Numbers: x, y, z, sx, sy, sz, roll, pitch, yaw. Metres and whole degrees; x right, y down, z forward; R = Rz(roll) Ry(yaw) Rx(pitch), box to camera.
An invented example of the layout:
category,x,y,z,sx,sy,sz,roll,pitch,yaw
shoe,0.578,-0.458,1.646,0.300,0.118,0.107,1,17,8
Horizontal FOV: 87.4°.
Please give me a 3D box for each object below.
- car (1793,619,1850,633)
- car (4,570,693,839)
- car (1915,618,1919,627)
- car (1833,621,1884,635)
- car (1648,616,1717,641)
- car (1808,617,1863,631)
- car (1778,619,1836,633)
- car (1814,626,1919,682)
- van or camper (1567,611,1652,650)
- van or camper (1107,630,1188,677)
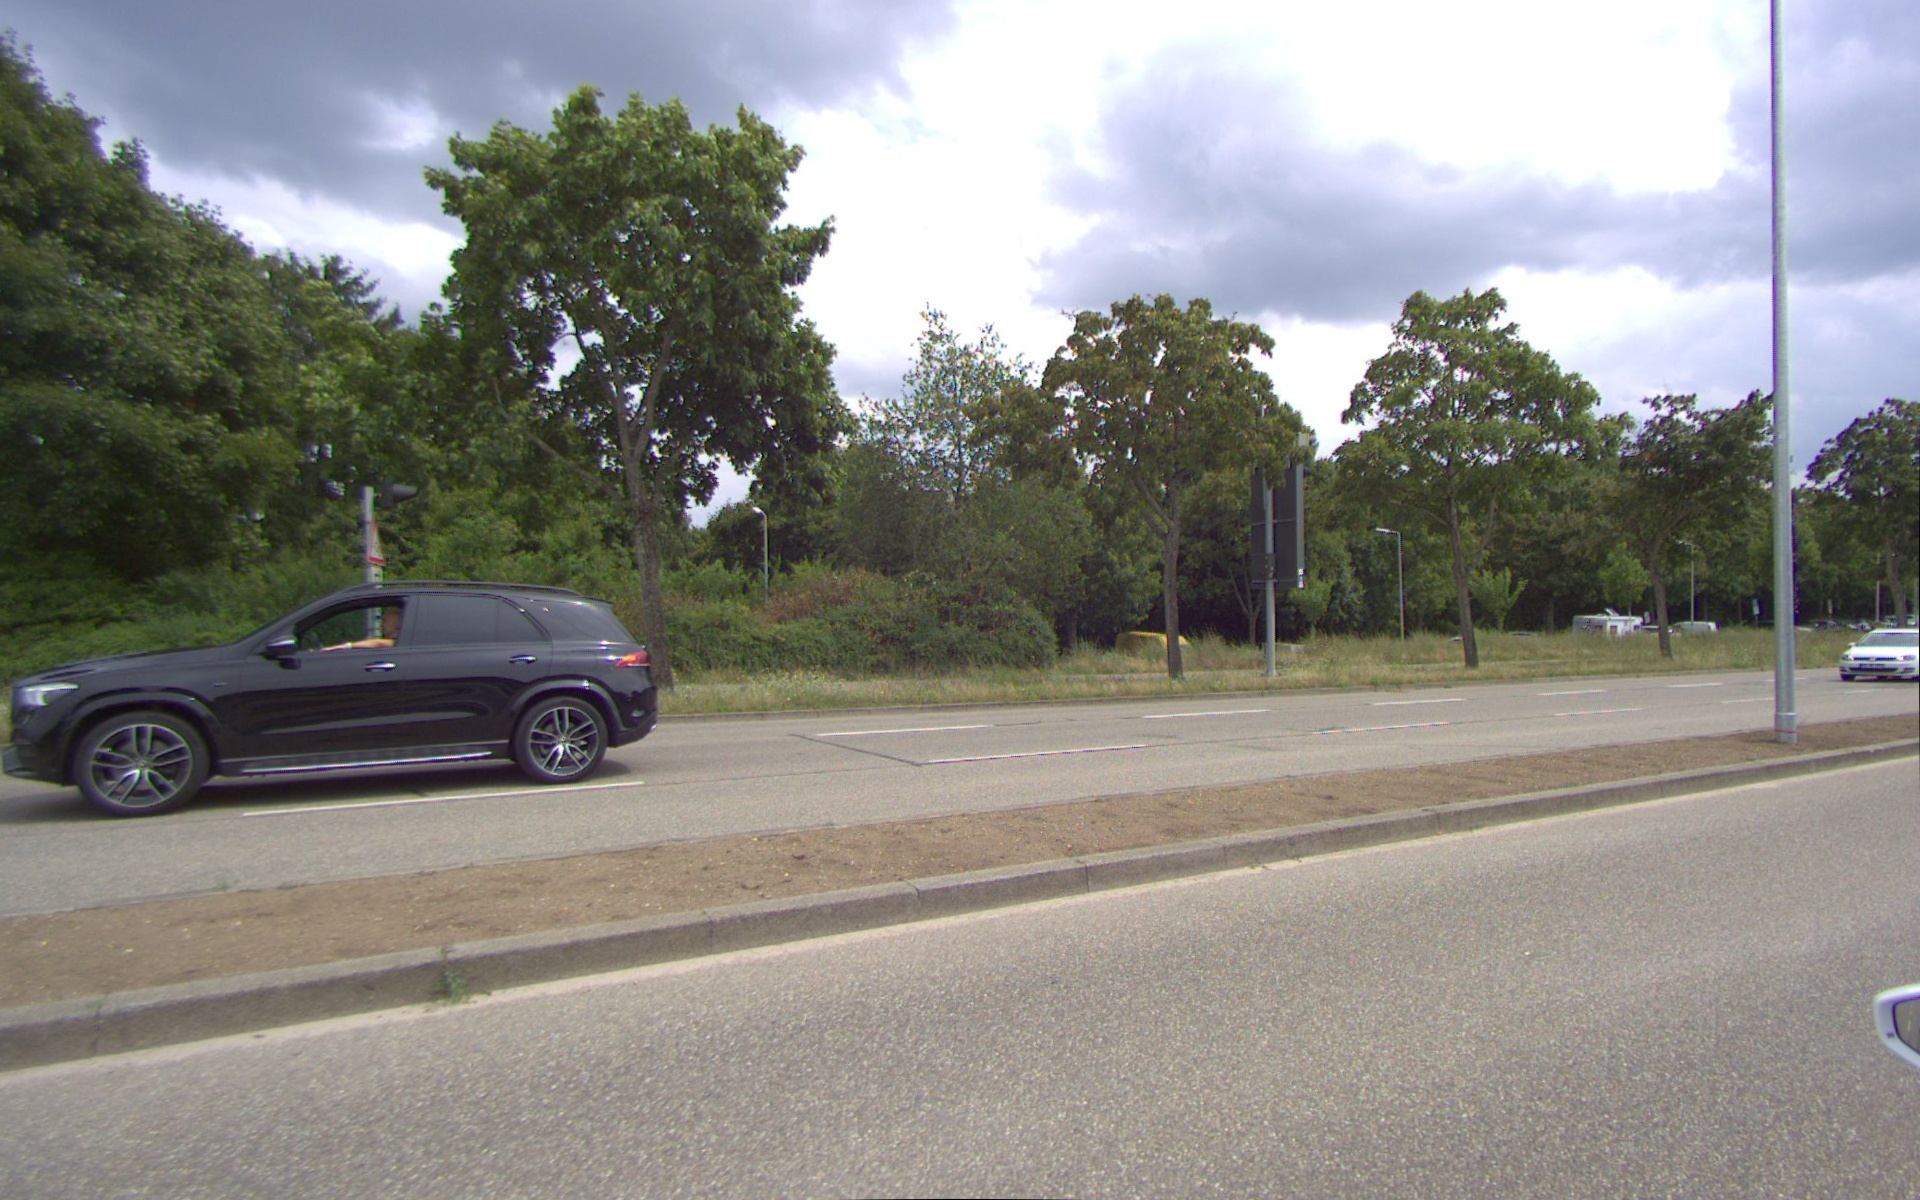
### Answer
category,x,y,z,sx,sy,sz,roll,pitch,yaw
car,85.242,2.527,99.449,1.833,1.276,3.966,0,0,-32
car,-5.026,0.724,8.973,4.743,1.835,1.983,0,-1,-32
car,111.848,2.581,115.069,1.425,1.108,3.350,0,0,-31
car,93.669,2.933,104.698,1.688,1.378,3.628,0,0,-30
car,56.423,2.200,78.460,1.917,1.912,3.965,0,0,-32
car,89.047,2.424,102.205,1.647,1.378,3.968,0,0,-30
car,81.798,2.478,97.042,1.546,1.276,3.966,0,0,-31
car,26.699,1.491,28.759,4.632,1.449,1.984,0,-2,-30
van or camper,45.484,2.095,70.267,6.645,2.575,2.458,0,0,-32
van or camper,9.345,2.652,50.375,1.971,2.040,4.345,1,1,-21
